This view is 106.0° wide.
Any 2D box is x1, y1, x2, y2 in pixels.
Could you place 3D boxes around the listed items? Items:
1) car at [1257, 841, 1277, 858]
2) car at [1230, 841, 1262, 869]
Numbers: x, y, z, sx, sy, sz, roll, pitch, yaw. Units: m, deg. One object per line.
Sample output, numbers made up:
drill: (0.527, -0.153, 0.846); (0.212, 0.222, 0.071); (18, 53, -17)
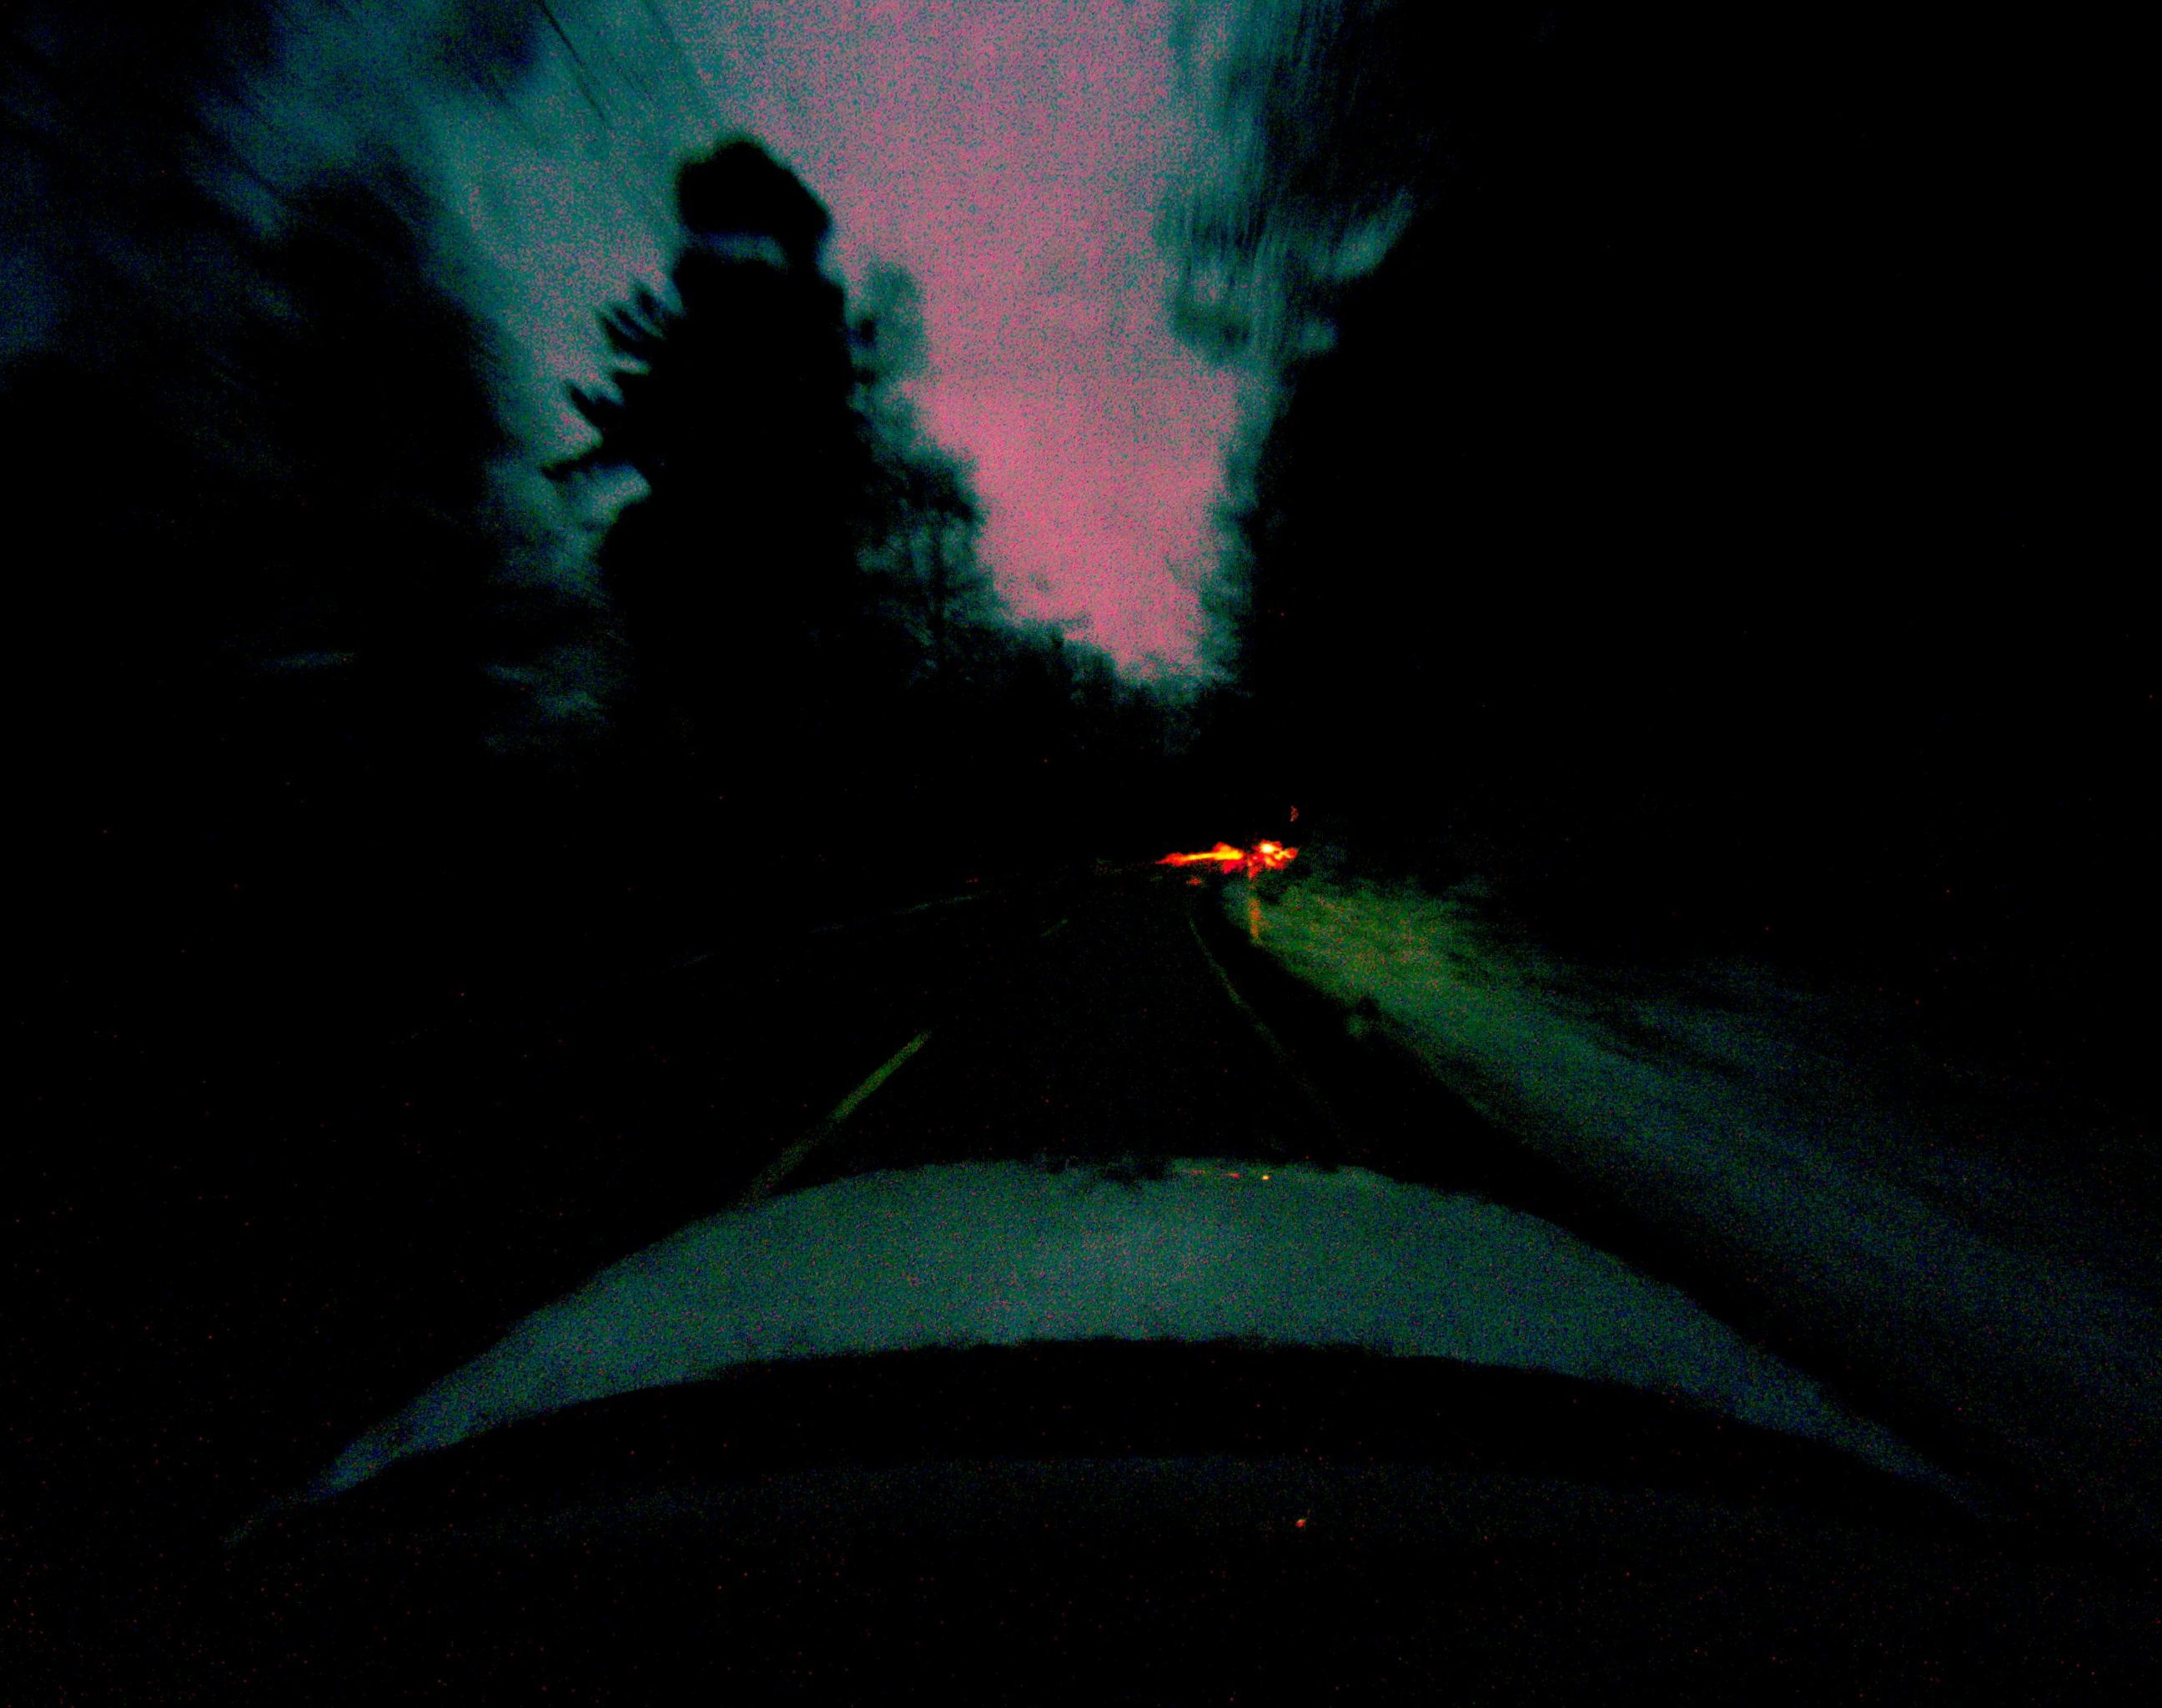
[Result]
car: (17.858, -0.448, 78.127); (1.709, 1.630, 4.017); (0, 1, 15)
car: (11.699, 0.048, 57.535); (1.979, 1.872, 4.015); (-2, 0, 14)
